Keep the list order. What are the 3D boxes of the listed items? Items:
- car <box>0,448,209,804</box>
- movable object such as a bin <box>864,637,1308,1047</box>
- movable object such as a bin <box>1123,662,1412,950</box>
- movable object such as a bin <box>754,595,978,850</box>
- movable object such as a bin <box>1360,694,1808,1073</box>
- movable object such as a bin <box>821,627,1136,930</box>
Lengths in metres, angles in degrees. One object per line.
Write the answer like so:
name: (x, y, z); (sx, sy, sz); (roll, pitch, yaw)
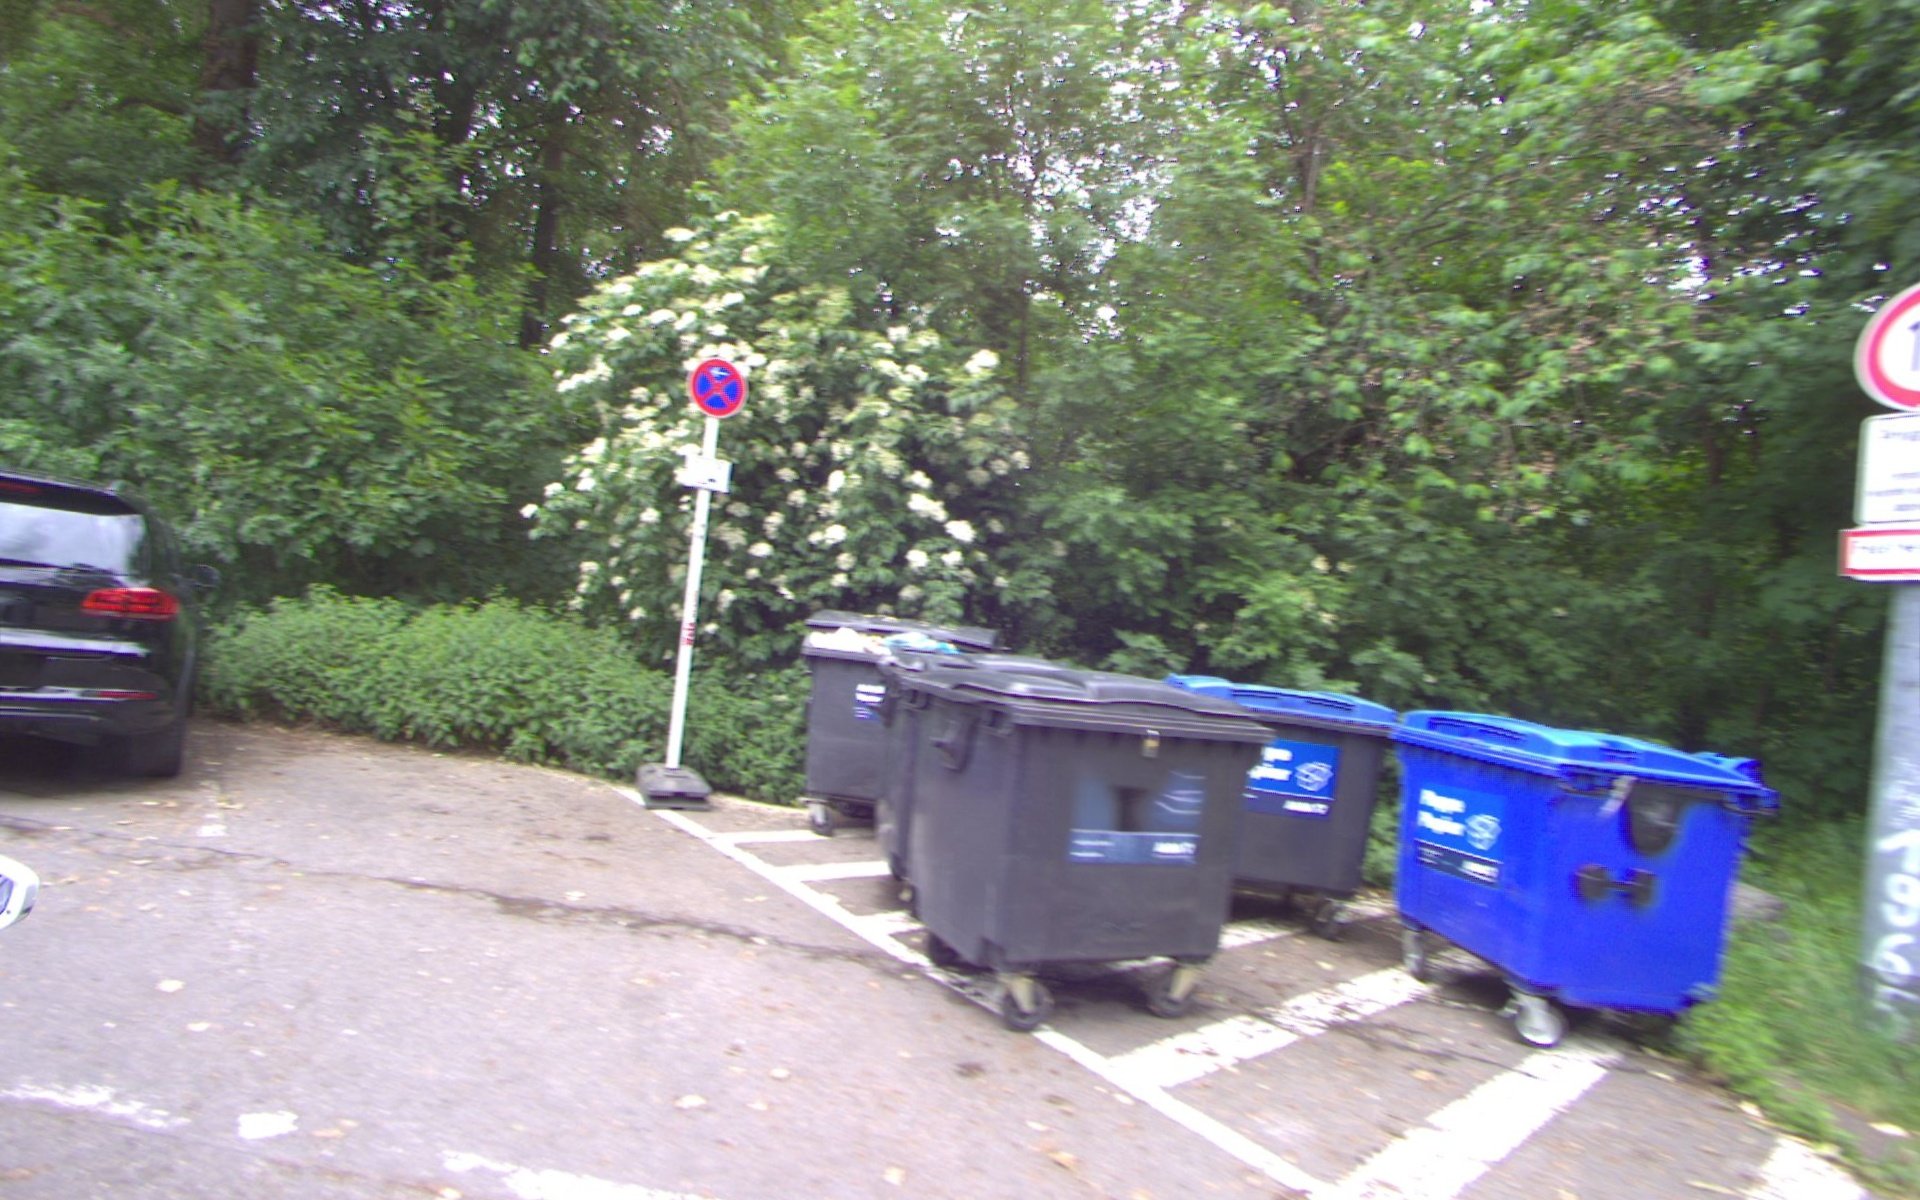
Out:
car: (-5.933, 0.003, 6.325); (1.770, 1.705, 4.030); (7, -1, -37)
movable object such as a bin: (0.465, 0.917, 4.190); (1.296, 1.323, 1.166); (7, -1, -24)
movable object such as a bin: (1.710, 1.117, 5.859); (1.217, 1.336, 1.127); (7, -1, 1)
movable object such as a bin: (-0.585, 0.779, 6.818); (1.109, 1.442, 1.128); (7, -1, 9)
movable object such as a bin: (2.791, 1.217, 4.697); (1.126, 1.340, 1.256); (7, -1, -7)
movable object such as a bin: (0.055, 0.895, 5.313); (1.169, 1.330, 1.121); (7, -1, -24)
